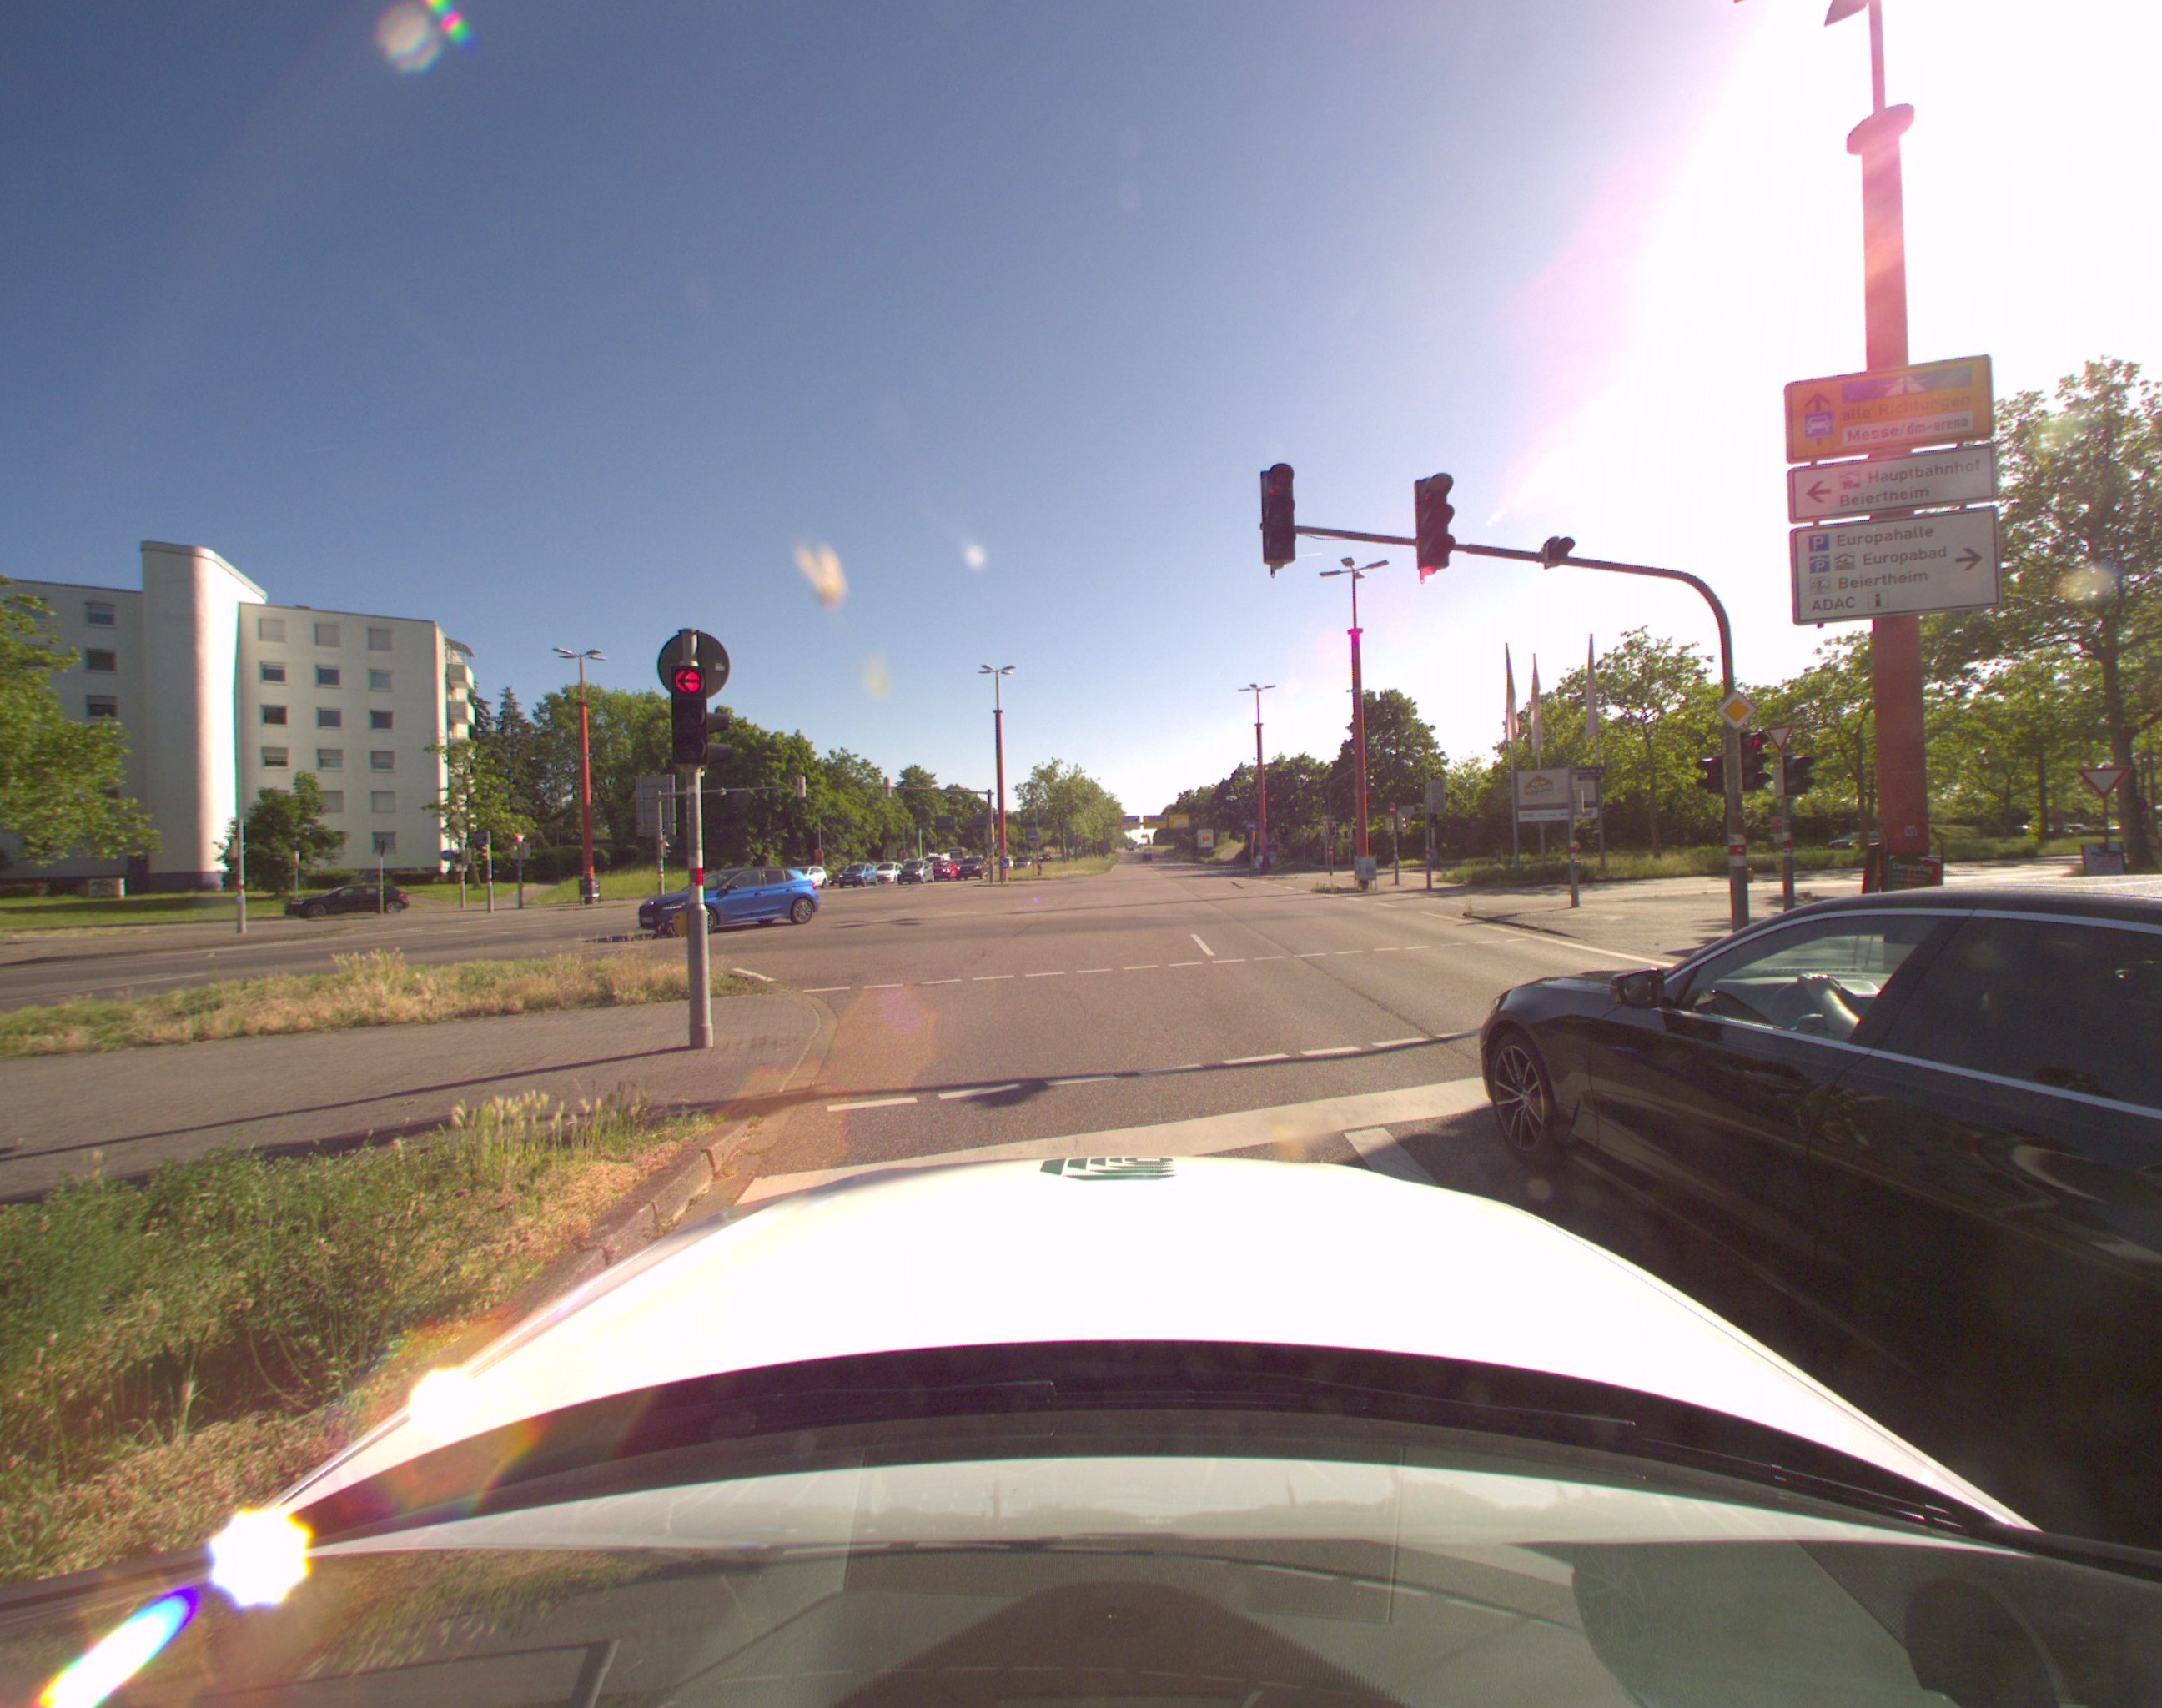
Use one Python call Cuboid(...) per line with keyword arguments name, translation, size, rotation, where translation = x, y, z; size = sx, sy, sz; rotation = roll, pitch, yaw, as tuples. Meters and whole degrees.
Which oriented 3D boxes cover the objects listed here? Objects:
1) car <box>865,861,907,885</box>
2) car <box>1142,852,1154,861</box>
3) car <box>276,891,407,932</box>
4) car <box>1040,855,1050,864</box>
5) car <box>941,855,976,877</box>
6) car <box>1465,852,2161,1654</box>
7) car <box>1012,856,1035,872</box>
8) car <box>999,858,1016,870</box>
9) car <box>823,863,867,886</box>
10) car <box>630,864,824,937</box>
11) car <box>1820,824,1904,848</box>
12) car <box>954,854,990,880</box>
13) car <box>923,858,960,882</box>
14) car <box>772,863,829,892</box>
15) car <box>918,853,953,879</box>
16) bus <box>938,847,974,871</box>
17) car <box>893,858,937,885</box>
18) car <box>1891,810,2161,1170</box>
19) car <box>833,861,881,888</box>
Cuboid(name="car", translation=(-13.769, 1.290, 57.757), size=(1.895, 1.555, 4.000), rotation=(-3, 0, 0))
Cuboid(name="car", translation=(12.306, 0.494, 149.236), size=(1.986, 1.733, 4.001), rotation=(0, -1, 2))
Cuboid(name="car", translation=(-32.616, 2.507, 36.003), size=(1.815, 1.503, 3.975), rotation=(-3, -1, 37))
Cuboid(name="car", translation=(-7.460, 1.169, 168.477), size=(1.830, 1.837, 3.962), rotation=(-2, 0, 2))
Cuboid(name="car", translation=(-9.742, 0.937, 65.016), size=(1.893, 1.630, 4.003), rotation=(-1, 0, 3))
Cuboid(name="car", translation=(2.871, 0.717, 2.313), size=(1.756, 1.441, 4.299), rotation=(0, -1, 4))
Cuboid(name="car", translation=(-6.014, 1.031, 85.284), size=(1.878, 1.543, 4.002), rotation=(-3, 0, 2))
Cuboid(name="car", translation=(-10.326, 1.393, 114.408), size=(1.878, 1.543, 4.002), rotation=(-3, 0, 2))
Cuboid(name="car", translation=(-17.553, 1.506, 60.674), size=(1.877, 1.513, 4.003), rotation=(-3, 0, 3))
Cuboid(name="car", translation=(-8.187, 1.021, 19.171), size=(1.558, 1.420, 3.934), rotation=(-2, 0, 33))
Cuboid(name="car", translation=(57.326, -1.310, 59.842), size=(4.261, 1.635, 1.773), rotation=(0, -1, 6))
Cuboid(name="car", translation=(-7.523, 0.860, 56.697), size=(1.787, 1.626, 4.144), rotation=(-3, 0, 1))
Cuboid(name="car", translation=(-10.062, 1.128, 59.018), size=(1.869, 1.552, 4.000), rotation=(-5, 0, 0))
Cuboid(name="car", translation=(-17.640, 1.426, 51.412), size=(1.869, 1.652, 4.222), rotation=(-3, -1, 3))
Cuboid(name="car", translation=(-12.718, 1.003, 71.296), size=(1.954, 2.155, 5.083), rotation=(-2, 0, 1))
Cuboid(name="bus", translation=(-17.953, 0.791, 117.730), size=(2.635, 3.261, 12.545), rotation=(0, 0, 3))
Cuboid(name="car", translation=(-10.691, 1.081, 52.691), size=(1.867, 1.550, 4.029), rotation=(-3, 0, 2))
Cuboid(name="car", translation=(5.661, 0.598, 2.953), size=(1.709, 1.608, 3.849), rotation=(0, -1, 2))
Cuboid(name="car", translation=(-14.133, 1.289, 51.611), size=(1.794, 1.515, 3.861), rotation=(-3, 0, 2))
